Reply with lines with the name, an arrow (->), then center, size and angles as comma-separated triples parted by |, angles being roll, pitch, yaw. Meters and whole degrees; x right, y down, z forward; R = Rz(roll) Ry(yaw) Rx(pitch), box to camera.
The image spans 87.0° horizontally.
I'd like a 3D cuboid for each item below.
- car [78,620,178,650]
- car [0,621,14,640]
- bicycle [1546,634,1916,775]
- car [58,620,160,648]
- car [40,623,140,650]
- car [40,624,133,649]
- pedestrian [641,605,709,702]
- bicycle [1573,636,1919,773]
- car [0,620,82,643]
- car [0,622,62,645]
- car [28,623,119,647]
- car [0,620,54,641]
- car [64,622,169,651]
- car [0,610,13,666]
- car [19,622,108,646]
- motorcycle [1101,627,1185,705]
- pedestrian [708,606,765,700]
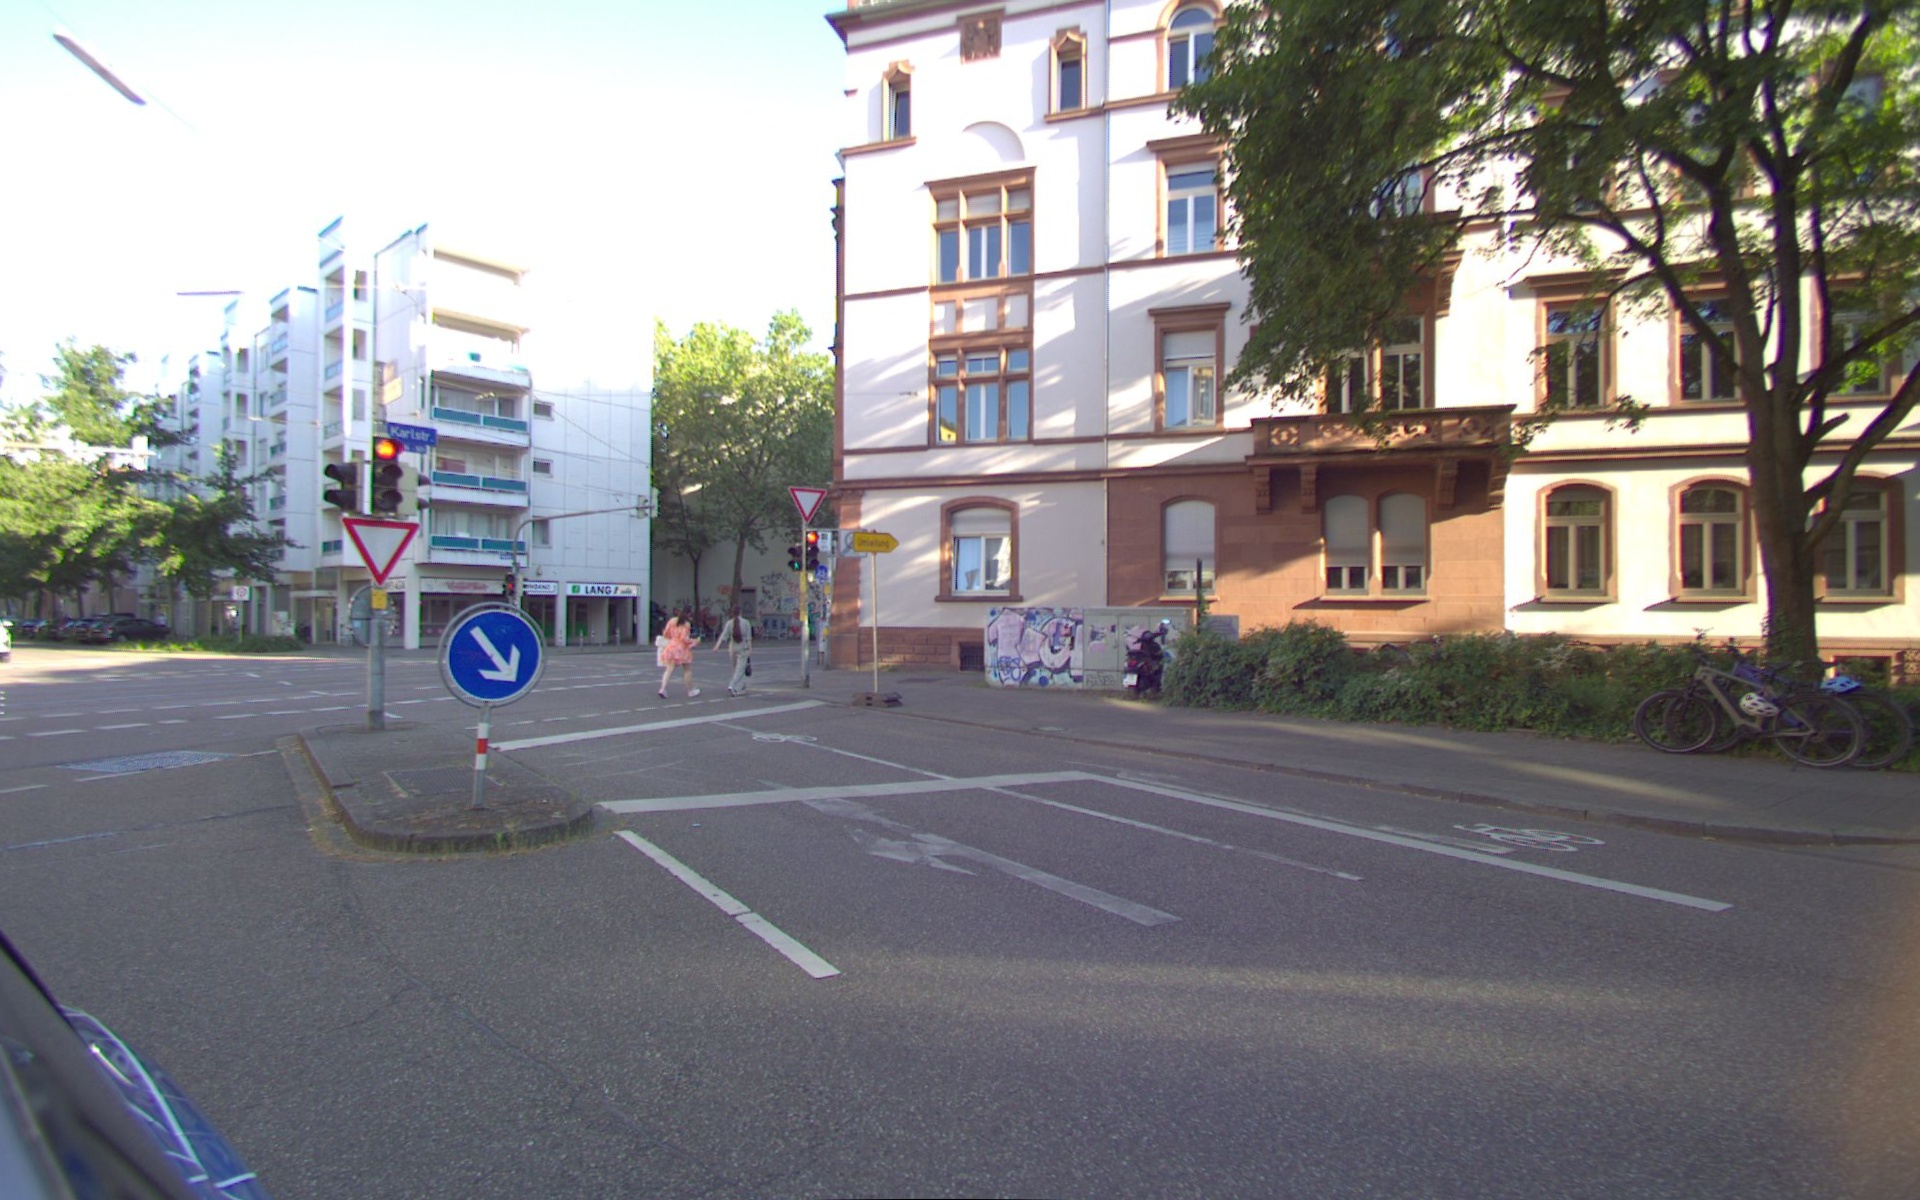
car -> -47.037, 1.953, 57.267 | 1.995, 1.597, 3.954 | -1, -2, 33
car -> -83.578, 2.597, 86.037 | 1.995, 1.597, 4.253 | -1, -2, 35
bicycle -> 7.607, 0.962, 10.252 | 0.538, 1.205, 2.967 | 1, -2, -32
car -> -50.854, 2.020, 60.547 | 1.994, 1.597, 4.255 | -1, -2, 33
car -> -52.992, 2.197, 61.703 | 1.994, 1.597, 4.255 | -1, -2, 33
car -> -57.161, 2.389, 66.260 | 1.995, 1.597, 4.253 | -1, -2, 35
pedestrian -> -5.161, 0.951, 18.382 | 0.859, 1.710, 0.981 | 0, -2, 8
bicycle -> 8.100, 0.998, 10.566 | 0.538, 1.205, 2.967 | 1, -2, -32
car -> -65.816, 2.260, 72.325 | 1.995, 1.597, 4.253 | -1, -2, 35
car -> -69.192, 2.456, 74.475 | 1.995, 1.597, 4.253 | -1, -2, 35
car -> -59.754, 2.353, 68.273 | 1.995, 1.597, 4.253 | -1, -2, 35
car -> -71.792, 2.299, 76.739 | 1.995, 1.597, 4.253 | -1, -2, 35
car -> -48.944, 2.083, 58.794 | 1.994, 1.597, 4.255 | -1, -2, 33
car -> -32.007, 1.202, 32.395 | 3.996, 1.763, 1.974 | -1, -2, 40
car -> -61.693, 2.325, 69.703 | 1.995, 1.597, 4.253 | -1, -2, 35
motorcycle -> 3.233, 1.106, 17.714 | 0.839, 1.275, 2.090 | -1, -2, 29
pedestrian -> -4.225, 0.982, 19.069 | 0.854, 1.710, 0.987 | 1, -2, -24
